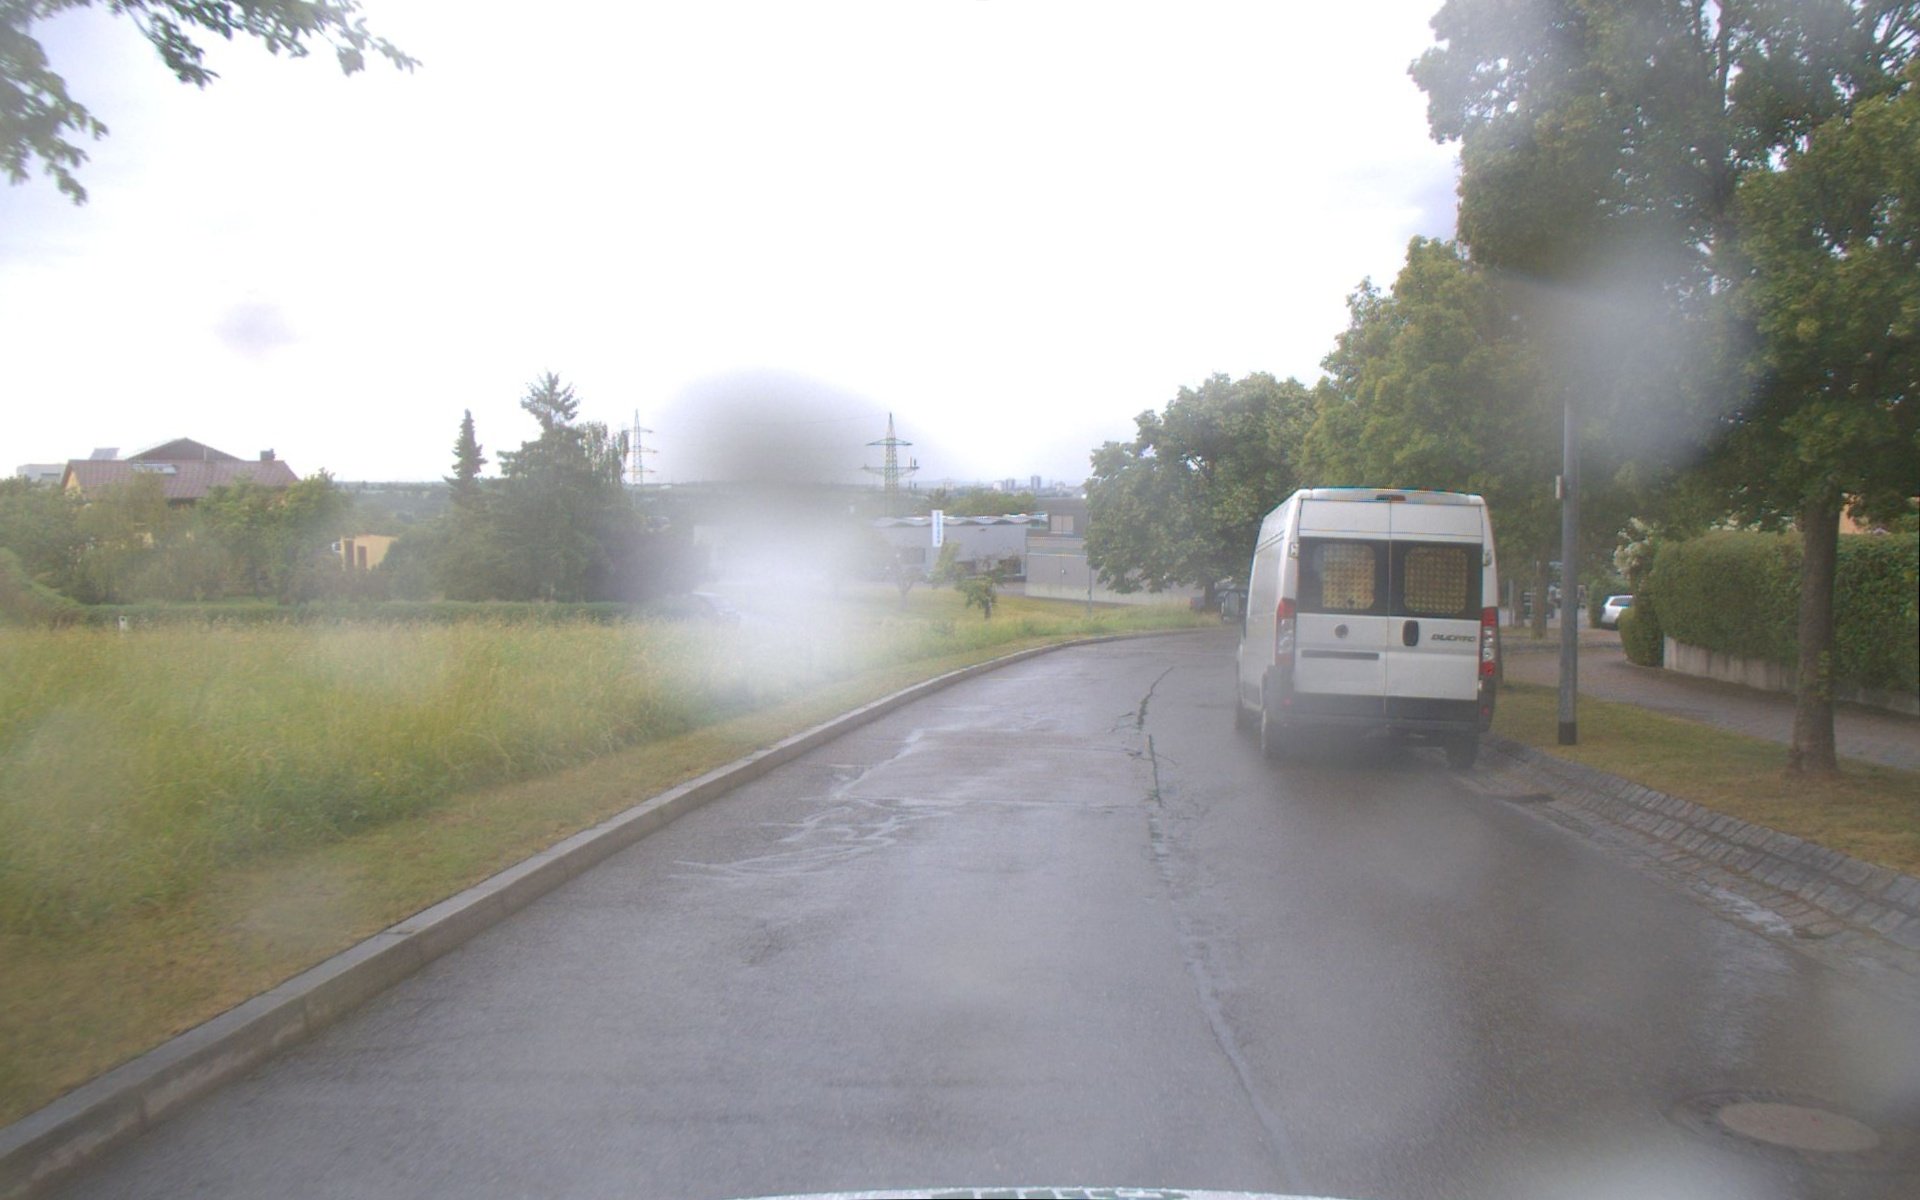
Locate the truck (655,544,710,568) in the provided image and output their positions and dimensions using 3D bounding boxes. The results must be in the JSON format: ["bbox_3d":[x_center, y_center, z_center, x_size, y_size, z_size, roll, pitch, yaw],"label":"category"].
[{"bbox_3d":[-29.771,-4.707,177.514,5.259,2.349,2.410,1,3,-32],"label":"truck"}]

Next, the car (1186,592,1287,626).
[{"bbox_3d":[12.060,0.386,72.115,4.080,1.379,1.862,-1,0,22],"label":"car"}]

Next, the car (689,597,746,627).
[{"bbox_3d":[-14.687,0.714,100.049,1.762,1.624,3.948,-1,2,-37],"label":"car"}]

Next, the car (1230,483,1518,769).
[{"bbox_3d":[4.126,0.210,17.479,2.073,2.510,5.513,1,0,5],"label":"car"}]

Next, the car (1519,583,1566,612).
[{"bbox_3d":[34.587,-0.175,98.138,1.658,1.579,3.683,2,3,36],"label":"car"}]

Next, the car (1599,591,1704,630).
[{"bbox_3d":[29.671,0.439,71.000,4.014,1.593,1.998,-1,0,27],"label":"car"}]

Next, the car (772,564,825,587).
[{"bbox_3d":[-14.113,-2.123,144.806,4.220,1.731,1.779,2,3,-32],"label":"car"}]
